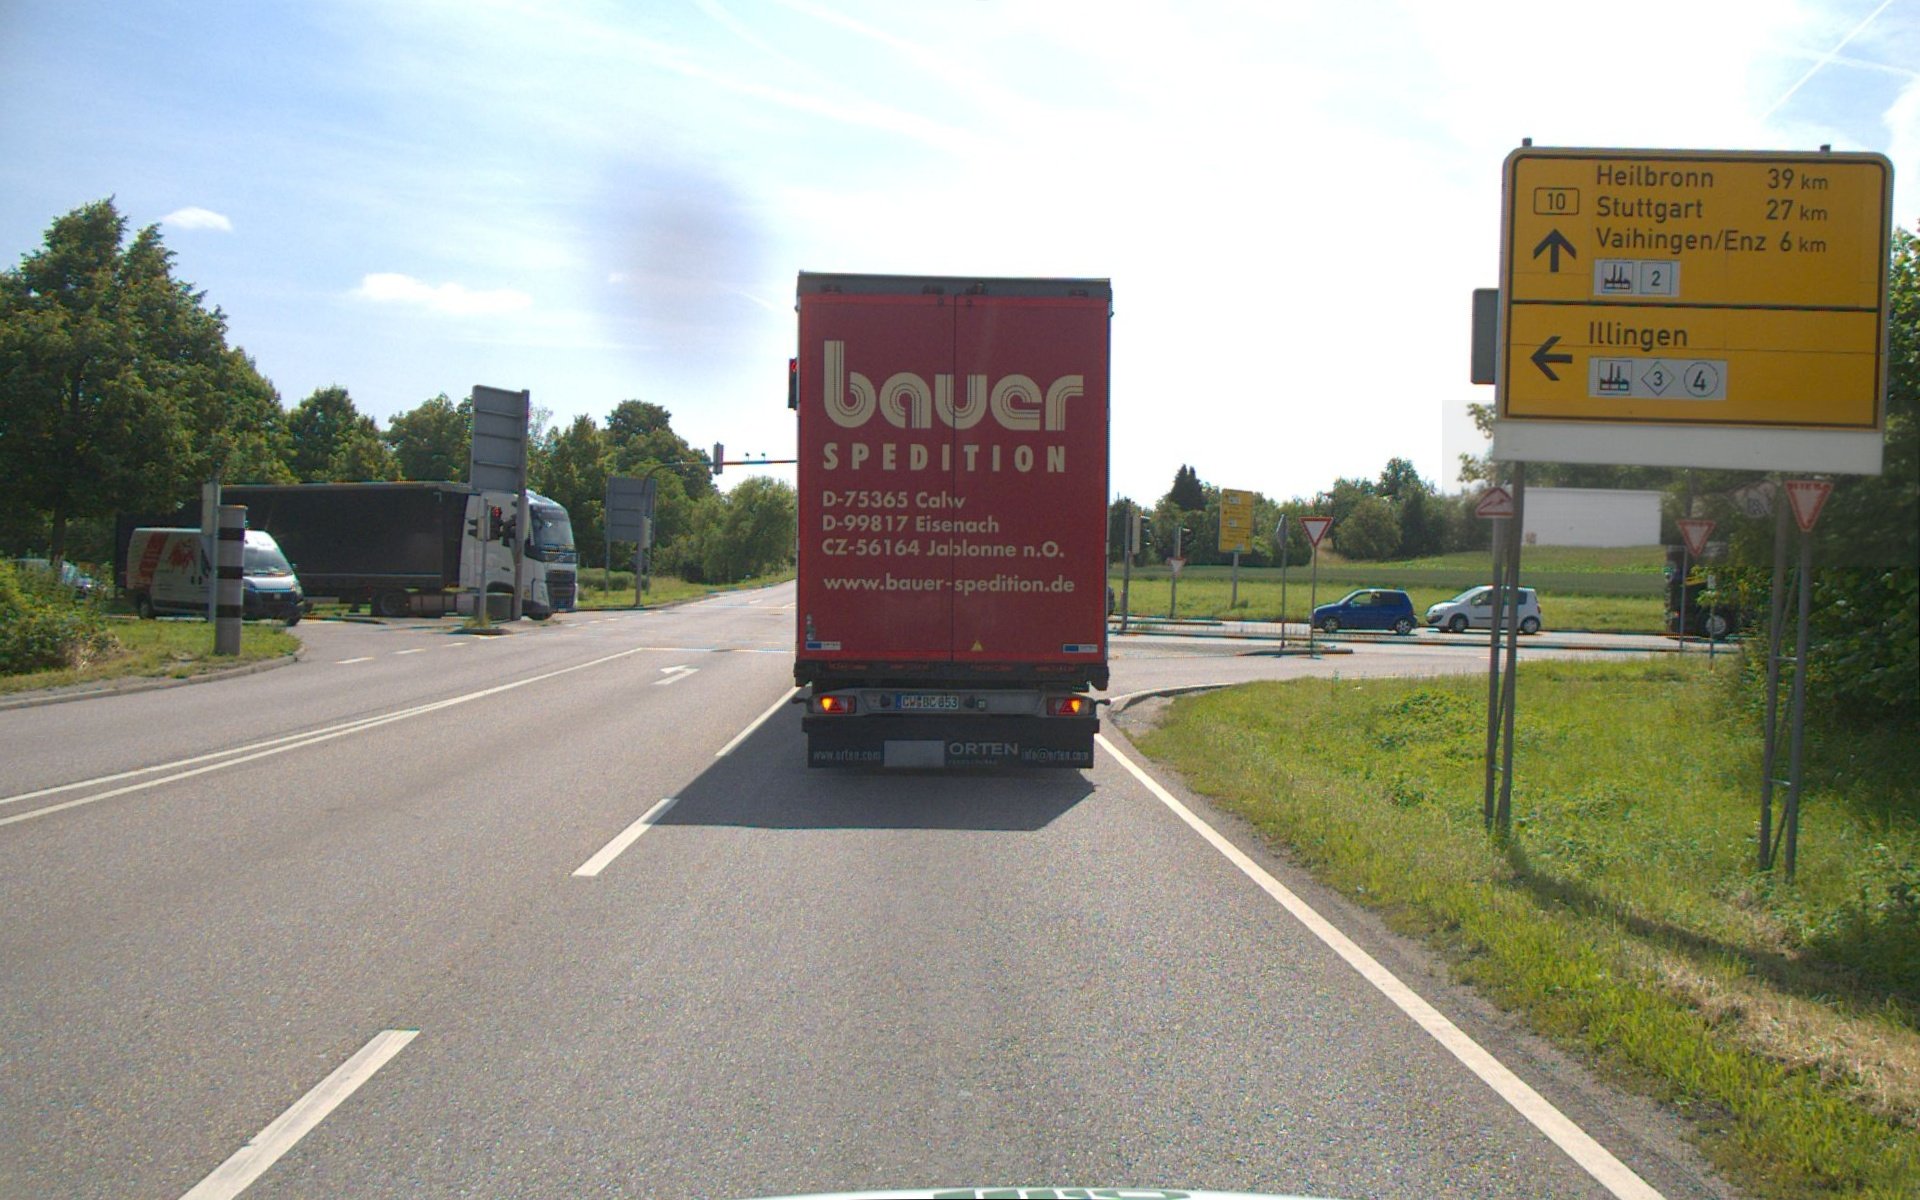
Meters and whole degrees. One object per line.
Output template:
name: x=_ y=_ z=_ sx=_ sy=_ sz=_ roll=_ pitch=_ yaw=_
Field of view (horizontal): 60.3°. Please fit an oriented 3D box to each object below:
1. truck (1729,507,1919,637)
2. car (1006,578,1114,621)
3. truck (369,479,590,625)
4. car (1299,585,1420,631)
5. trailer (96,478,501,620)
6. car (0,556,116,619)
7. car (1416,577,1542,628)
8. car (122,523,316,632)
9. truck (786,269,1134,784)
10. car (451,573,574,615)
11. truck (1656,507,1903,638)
truck: x=32.495 y=-0.826 z=52.874 sx=13.980 sy=4.049 sz=3.030 roll=1 pitch=1 yaw=16
car: x=3.978 y=-0.028 z=66.083 sx=4.212 sy=1.685 sz=1.689 roll=1 pitch=-1 yaw=43
truck: x=-14.328 y=-1.456 z=49.407 sx=5.703 sy=4.132 sz=2.800 roll=1 pitch=1 yaw=17
car: x=12.993 y=0.250 z=53.894 sx=3.766 sy=1.380 sz=1.678 roll=1 pitch=0 yaw=13
trailer: x=-20.836 y=-1.678 z=51.767 sx=13.402 sy=4.132 sz=2.799 roll=2 pitch=1 yaw=21
car: x=-27.152 y=-0.374 z=49.550 sx=4.033 sy=1.780 sz=1.863 roll=1 pitch=-1 yaw=39
car: x=17.578 y=0.095 z=56.143 sx=3.747 sy=1.662 sz=1.761 roll=0 pitch=-1 yaw=2
car: x=-19.627 y=-0.658 z=43.675 sx=5.868 sy=2.700 sz=2.116 roll=2 pitch=2 yaw=37
truck: x=-0.151 y=-0.673 z=21.258 sx=2.679 sy=3.993 sz=16.622 roll=1 pitch=1 yaw=-1
car: x=-16.625 y=-0.230 z=61.530 sx=3.902 sy=1.454 sz=2.001 roll=1 pitch=0 yaw=14
truck: x=26.842 y=-0.937 z=54.565 sx=6.784 sy=4.063 sz=3.030 roll=1 pitch=1 yaw=16
